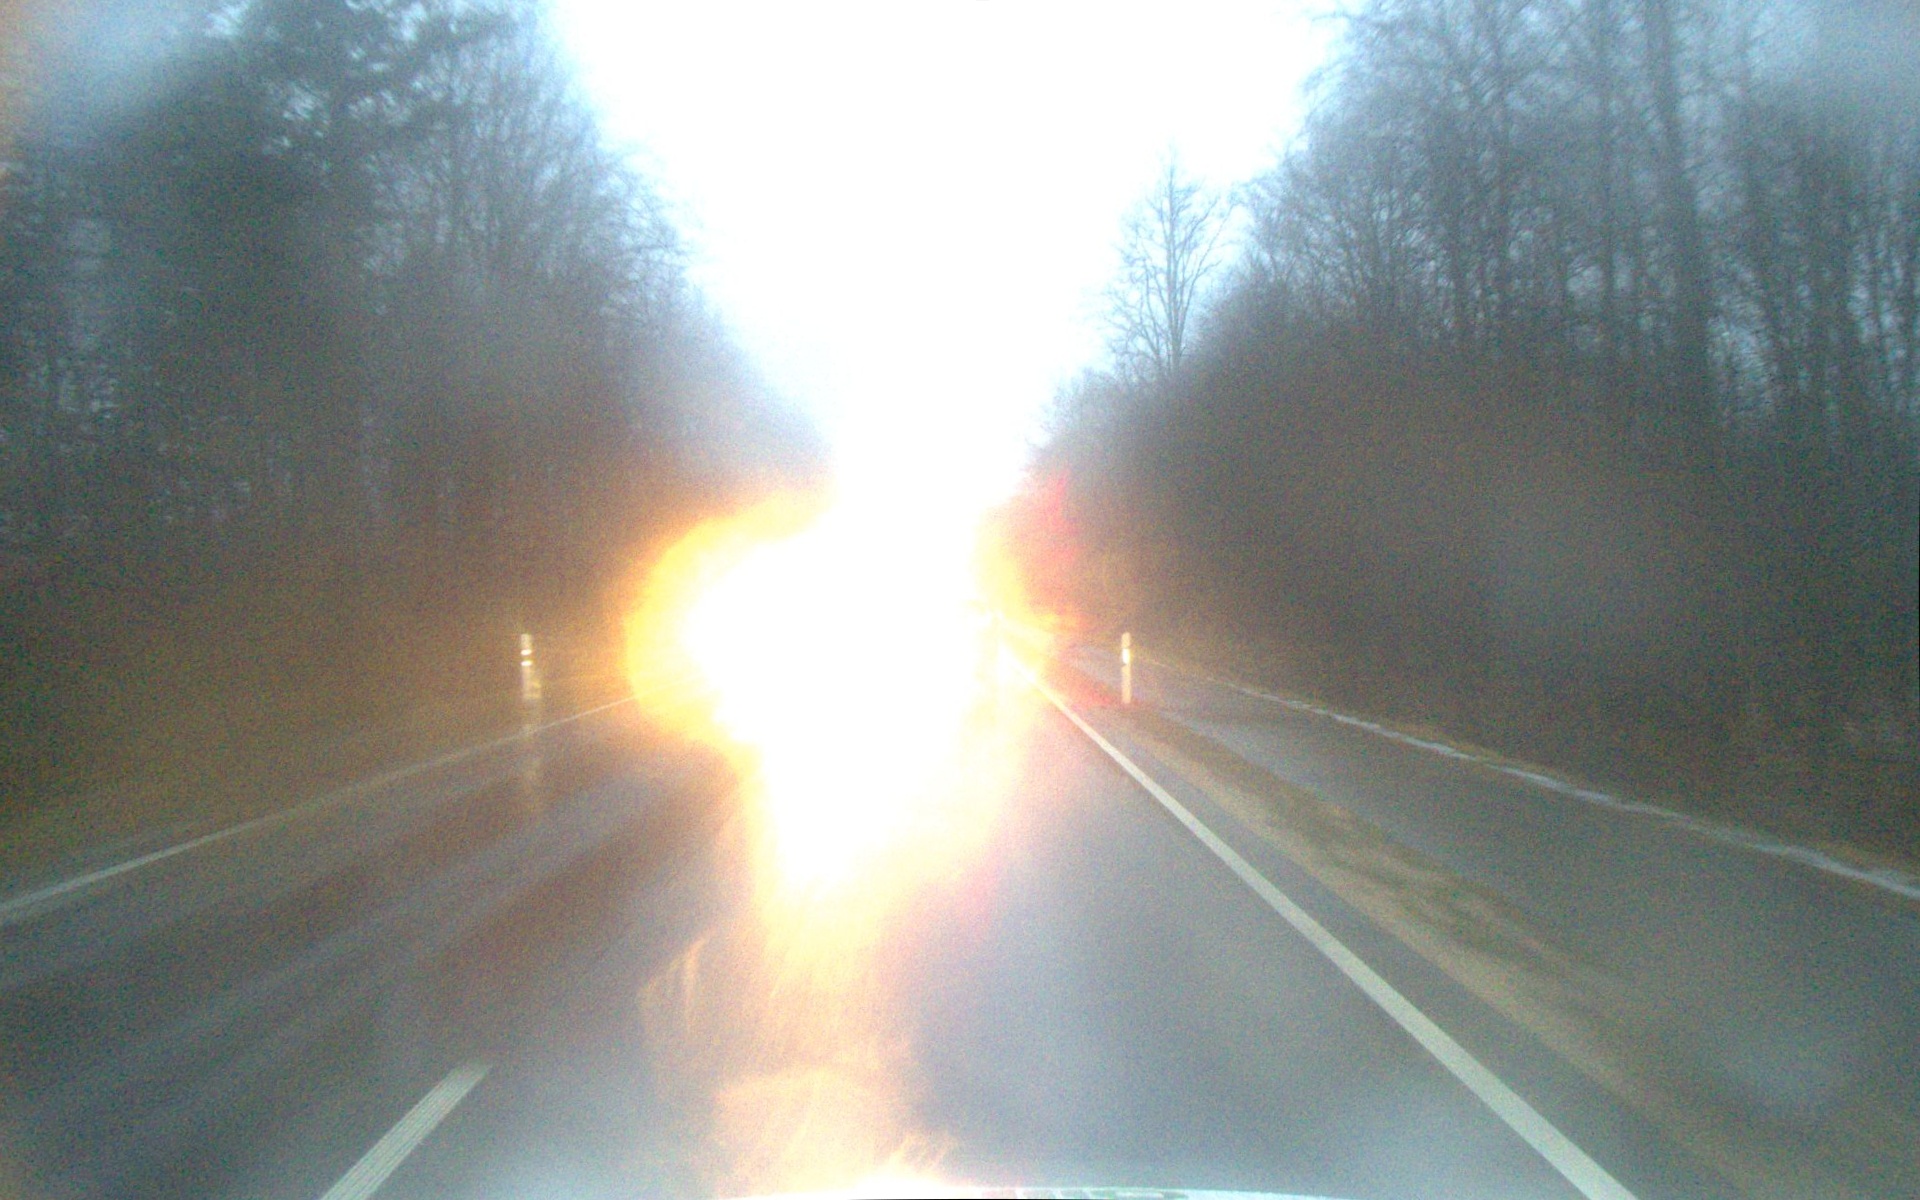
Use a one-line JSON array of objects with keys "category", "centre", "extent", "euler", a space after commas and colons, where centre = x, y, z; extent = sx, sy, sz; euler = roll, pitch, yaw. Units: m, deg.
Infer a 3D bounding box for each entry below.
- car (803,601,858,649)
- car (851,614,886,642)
[{"category": "car", "centre": [-4.136, 0.786, 53.155], "extent": [1.482, 1.438, 3.660], "euler": [-1, 0, 0]}, {"category": "car", "centre": [-4.655, 1.405, 84.516], "extent": [1.669, 1.387, 4.374], "euler": [0, -1, -1]}]
